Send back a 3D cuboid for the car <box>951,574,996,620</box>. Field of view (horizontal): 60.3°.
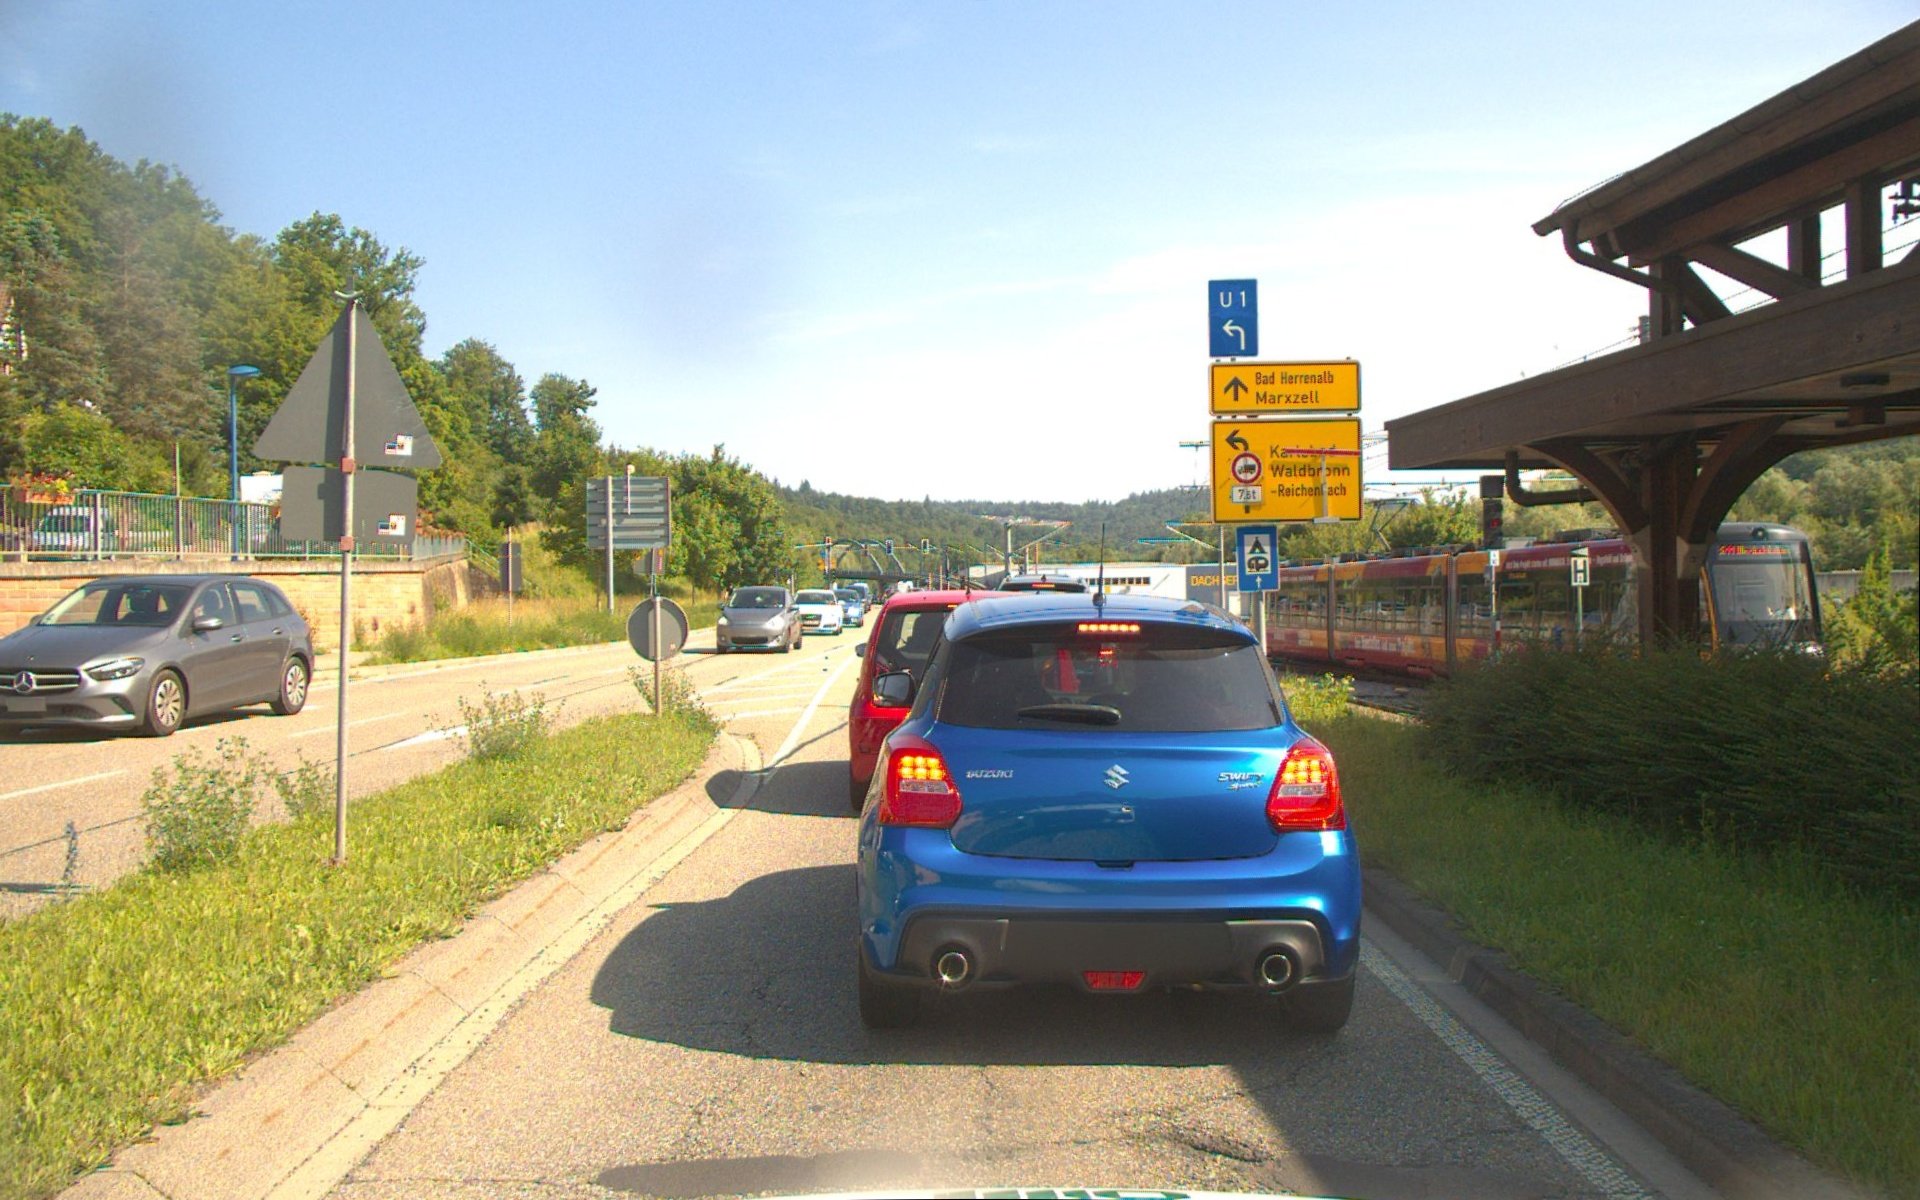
[{"bbox_3d":[0.614,-0.168,77.990,1.953,2.048,4.000,2,1,-1],"label":"car"}]

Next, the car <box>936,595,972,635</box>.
[{"bbox_3d":[-0.368,0.837,94.096,1.953,2.048,4.000,2,1,-1],"label":"car"}]

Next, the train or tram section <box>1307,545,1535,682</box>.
[{"bbox_3d":[13.074,0.355,48.361,2.731,3.423,12.041,2,0,-3],"label":"train or tram section"}]

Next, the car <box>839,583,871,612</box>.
[{"bbox_3d":[-6.844,-0.152,108.171,1.795,1.743,3.811,2,1,1],"label":"car"}]

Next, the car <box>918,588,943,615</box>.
[{"bbox_3d":[-2.390,0.093,133.276,1.953,2.048,4.000,2,1,-1],"label":"car"}]

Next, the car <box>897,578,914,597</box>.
[{"bbox_3d":[-6.530,-1.538,198.215,1.953,2.181,4.719,1,0,-1],"label":"car"}]

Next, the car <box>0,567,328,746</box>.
[{"bbox_3d":[-8.387,0.481,17.015,1.952,1.591,4.510,0,1,1],"label":"car"}]

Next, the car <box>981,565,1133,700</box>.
[{"bbox_3d":[1.303,0.404,24.072,1.952,1.716,4.497,2,1,1],"label":"car"}]

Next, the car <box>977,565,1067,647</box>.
[{"bbox_3d":[1.406,0.110,38.691,1.952,1.766,4.000,2,1,1],"label":"car"}]

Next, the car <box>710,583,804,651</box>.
[{"bbox_3d":[-4.613,0.378,38.064,1.637,1.466,3.840,1,0,1],"label":"car"}]

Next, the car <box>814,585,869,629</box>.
[{"bbox_3d":[-4.639,0.246,65.179,1.795,1.493,3.812,2,3,1],"label":"car"}]

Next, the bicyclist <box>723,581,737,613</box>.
[{"bbox_3d":[-11.033,-0.143,79.292,0.617,1.533,0.505,2,1,-4],"label":"bicyclist"}]

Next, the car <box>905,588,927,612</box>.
[{"bbox_3d":[-4.199,-0.016,157.585,1.953,2.048,4.000,2,1,-1],"label":"car"}]

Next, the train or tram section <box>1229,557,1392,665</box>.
[{"bbox_3d":[12.428,0.265,60.018,2.701,3.422,12.042,2,1,-3],"label":"train or tram section"}]

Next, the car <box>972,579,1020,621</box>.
[{"bbox_3d":[1.439,-0.034,65.994,1.794,1.519,3.812,2,1,1],"label":"car"}]

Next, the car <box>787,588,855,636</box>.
[{"bbox_3d":[-4.454,0.370,53.441,1.795,1.393,3.950,1,1,1],"label":"car"}]

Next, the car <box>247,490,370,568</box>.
[{"bbox_3d":[-17.740,-1.906,45.290,1.982,1.953,4.724,2,1,-7],"label":"car"}]

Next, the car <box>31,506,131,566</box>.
[{"bbox_3d":[-26.158,-1.862,49.332,1.864,1.658,3.982,0,1,-16],"label":"car"}]

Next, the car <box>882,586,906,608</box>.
[{"bbox_3d":[-5.566,-0.267,140.145,1.953,1.814,3.999,1,0,-1],"label":"car"}]

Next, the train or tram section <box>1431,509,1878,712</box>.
[{"bbox_3d":[13.874,0.139,35.324,2.799,3.423,14.345,1,0,-3],"label":"train or tram section"}]

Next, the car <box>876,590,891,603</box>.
[{"bbox_3d":[-10.769,-0.495,234.257,1.953,1.770,4.000,2,1,-1],"label":"car"}]

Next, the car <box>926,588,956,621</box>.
[{"bbox_3d":[-1.322,0.298,113.484,1.953,2.048,4.000,2,1,-1],"label":"car"}]

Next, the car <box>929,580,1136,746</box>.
[{"bbox_3d":[0.718,0.572,17.978,1.952,1.558,4.602,0,1,1],"label":"car"}]

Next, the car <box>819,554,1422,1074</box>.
[{"bbox_3d":[0.443,0.638,7.035,1.831,1.575,3.999,1,0,-2],"label":"car"}]

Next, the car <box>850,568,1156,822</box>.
[{"bbox_3d":[0.304,0.610,12.703,1.952,1.598,4.000,1,0,1],"label":"car"}]
